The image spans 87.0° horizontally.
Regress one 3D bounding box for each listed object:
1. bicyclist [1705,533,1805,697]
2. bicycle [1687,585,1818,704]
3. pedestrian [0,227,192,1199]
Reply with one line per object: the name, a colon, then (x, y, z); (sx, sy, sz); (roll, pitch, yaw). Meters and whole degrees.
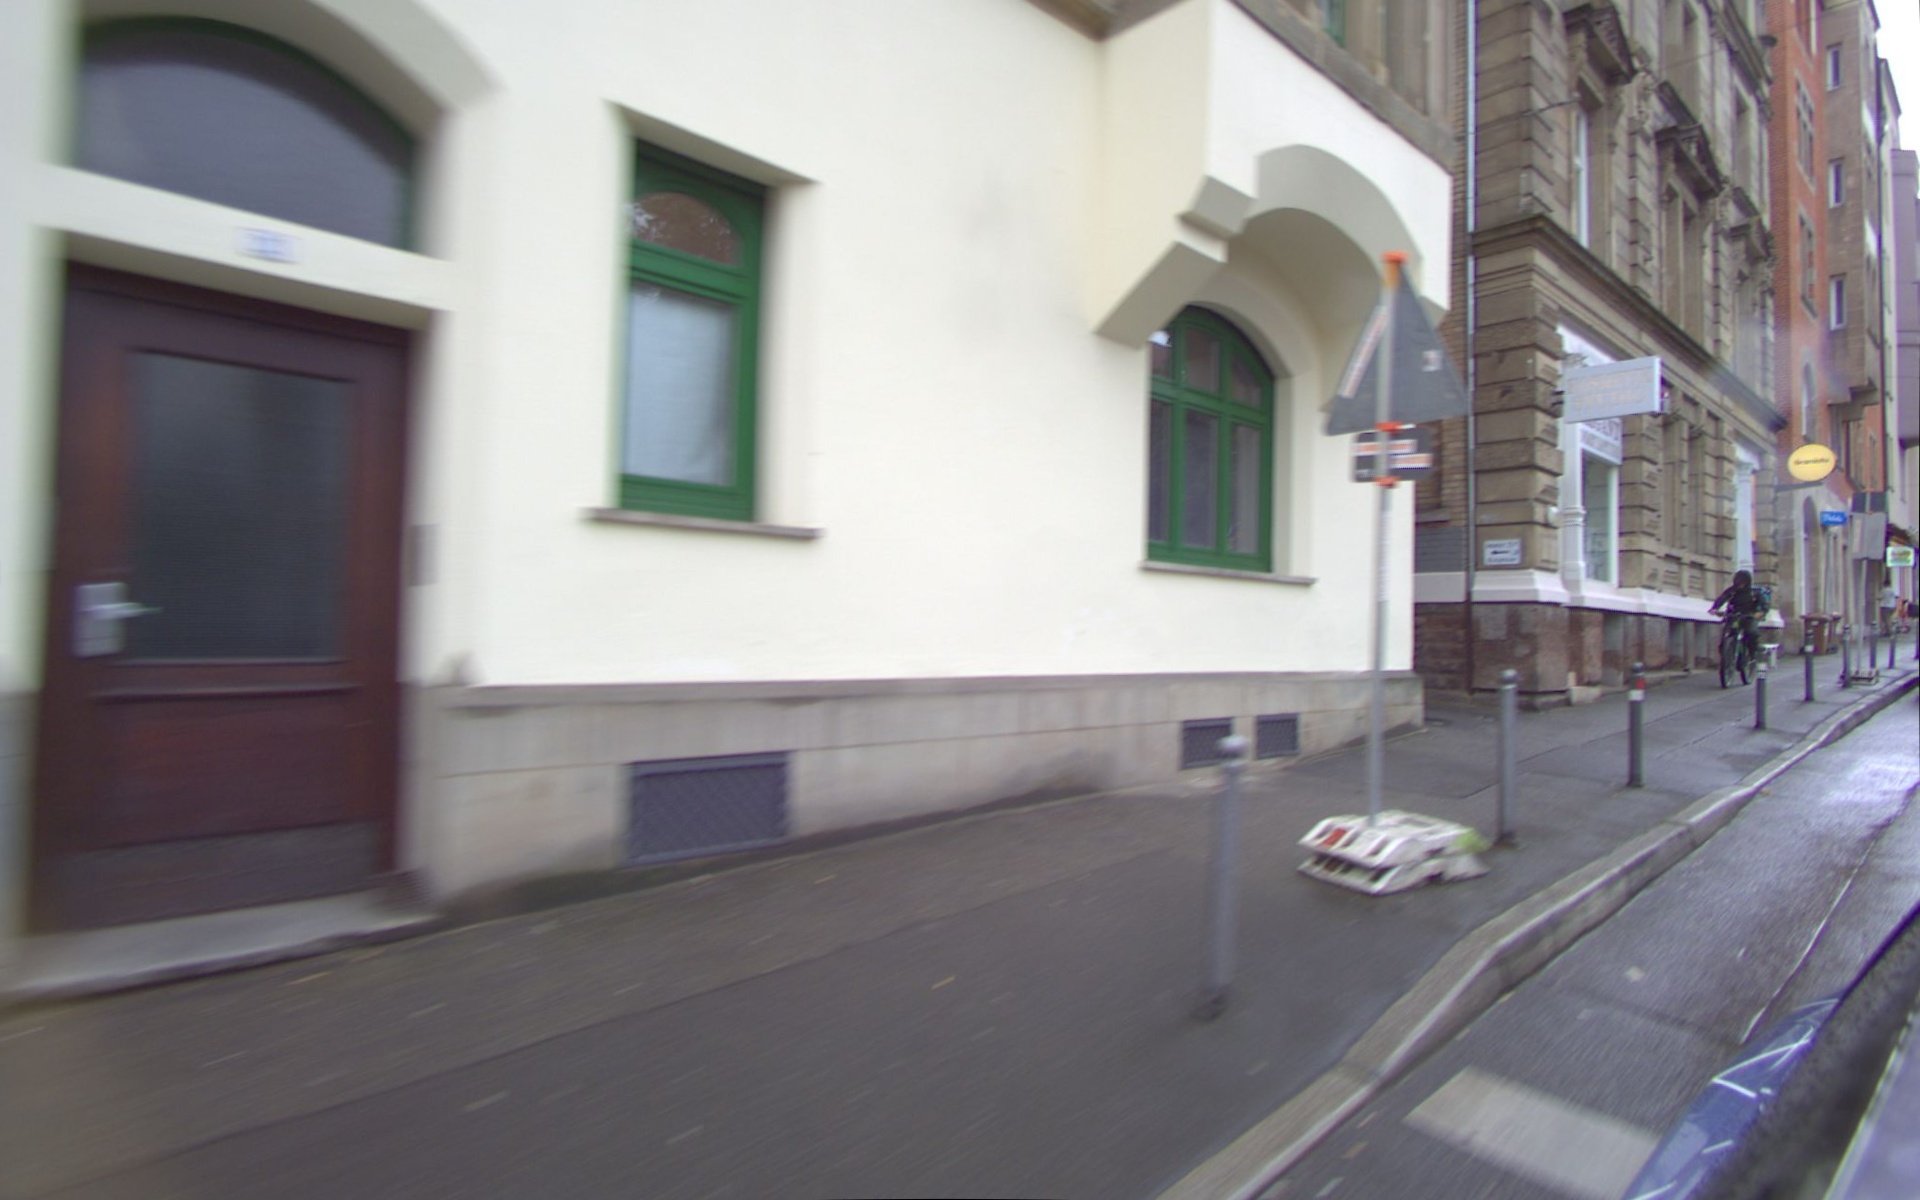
bicyclist: (11.657, 0.202, 14.833); (1.265, 2.291, 0.920); (0, 0, -41)
bicycle: (11.621, 0.584, 14.789); (3.080, 1.574, 0.936); (0, 0, -41)
pedestrian: (-1.558, 0.464, 1.249); (0.914, 1.741, 1.019); (0, 3, -41)
